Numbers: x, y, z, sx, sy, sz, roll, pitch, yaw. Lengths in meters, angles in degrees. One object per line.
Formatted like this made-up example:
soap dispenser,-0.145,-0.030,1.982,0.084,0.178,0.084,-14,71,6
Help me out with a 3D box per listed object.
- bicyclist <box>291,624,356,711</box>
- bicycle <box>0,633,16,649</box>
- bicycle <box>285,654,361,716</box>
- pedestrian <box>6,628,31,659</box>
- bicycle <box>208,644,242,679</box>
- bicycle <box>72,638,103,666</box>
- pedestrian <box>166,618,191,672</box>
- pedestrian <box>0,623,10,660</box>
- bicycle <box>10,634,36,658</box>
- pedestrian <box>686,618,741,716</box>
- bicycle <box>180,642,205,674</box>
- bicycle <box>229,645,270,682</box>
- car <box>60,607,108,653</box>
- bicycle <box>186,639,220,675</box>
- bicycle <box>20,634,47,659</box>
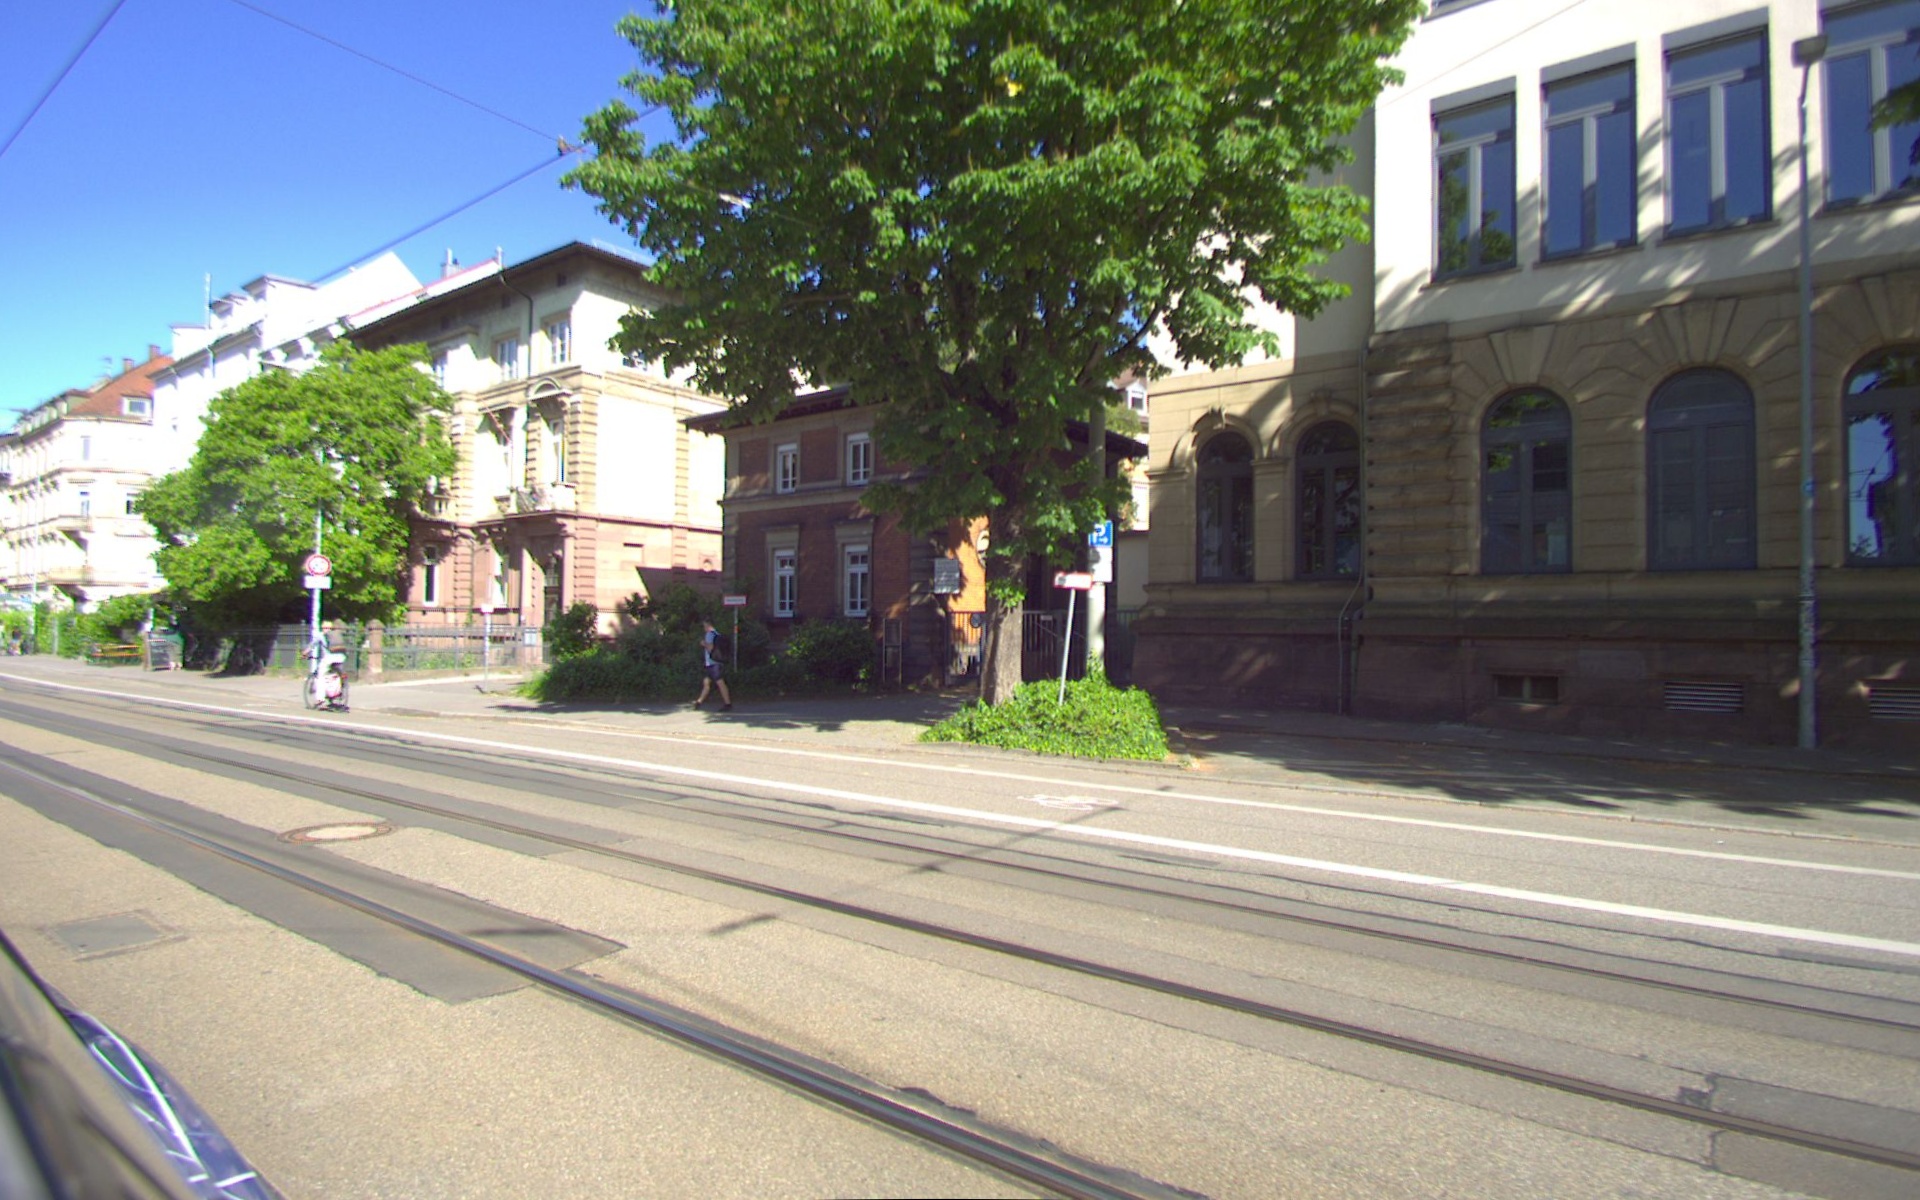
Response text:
bicyclist,-12.568,1.320,19.982,1.237,1.657,0.679,-1,-5,41
bicycle,-63.897,2.684,66.830,2.213,1.052,0.876,3,-2,-44
bicycle,-12.566,1.663,19.945,1.930,1.133,0.679,-1,-5,41
pedestrian,-44.904,2.062,48.268,0.955,1.489,0.747,-1,-1,38
bicycle,-23.537,1.949,32.404,0.583,1.053,1.906,1,-2,-45
bicycle,-35.457,2.106,41.122,1.740,1.067,0.632,-1,-1,38
pedestrian,-26.688,1.535,34.551,0.568,1.845,0.691,2,-3,-34
pedestrian,-45.169,1.927,47.498,0.807,1.727,0.747,-1,-1,38
bicycle,-45.946,2.236,49.627,1.837,1.097,0.655,0,1,38
pedestrian,-4.679,1.262,19.274,0.772,1.810,0.729,-1,0,11
bicycle,-26.440,1.978,34.869,0.628,1.053,2.026,2,-3,-36
bicycle,-21.770,1.924,30.989,1.903,1.053,0.583,-1,-1,41
car,-56.781,1.901,65.678,1.861,2.862,4.795,3,-2,-36
bicycle,-25.366,1.900,33.906,0.638,1.152,1.906,0,-1,-45
bicycle,-44.315,2.217,48.397,1.837,1.097,0.655,0,1,38
